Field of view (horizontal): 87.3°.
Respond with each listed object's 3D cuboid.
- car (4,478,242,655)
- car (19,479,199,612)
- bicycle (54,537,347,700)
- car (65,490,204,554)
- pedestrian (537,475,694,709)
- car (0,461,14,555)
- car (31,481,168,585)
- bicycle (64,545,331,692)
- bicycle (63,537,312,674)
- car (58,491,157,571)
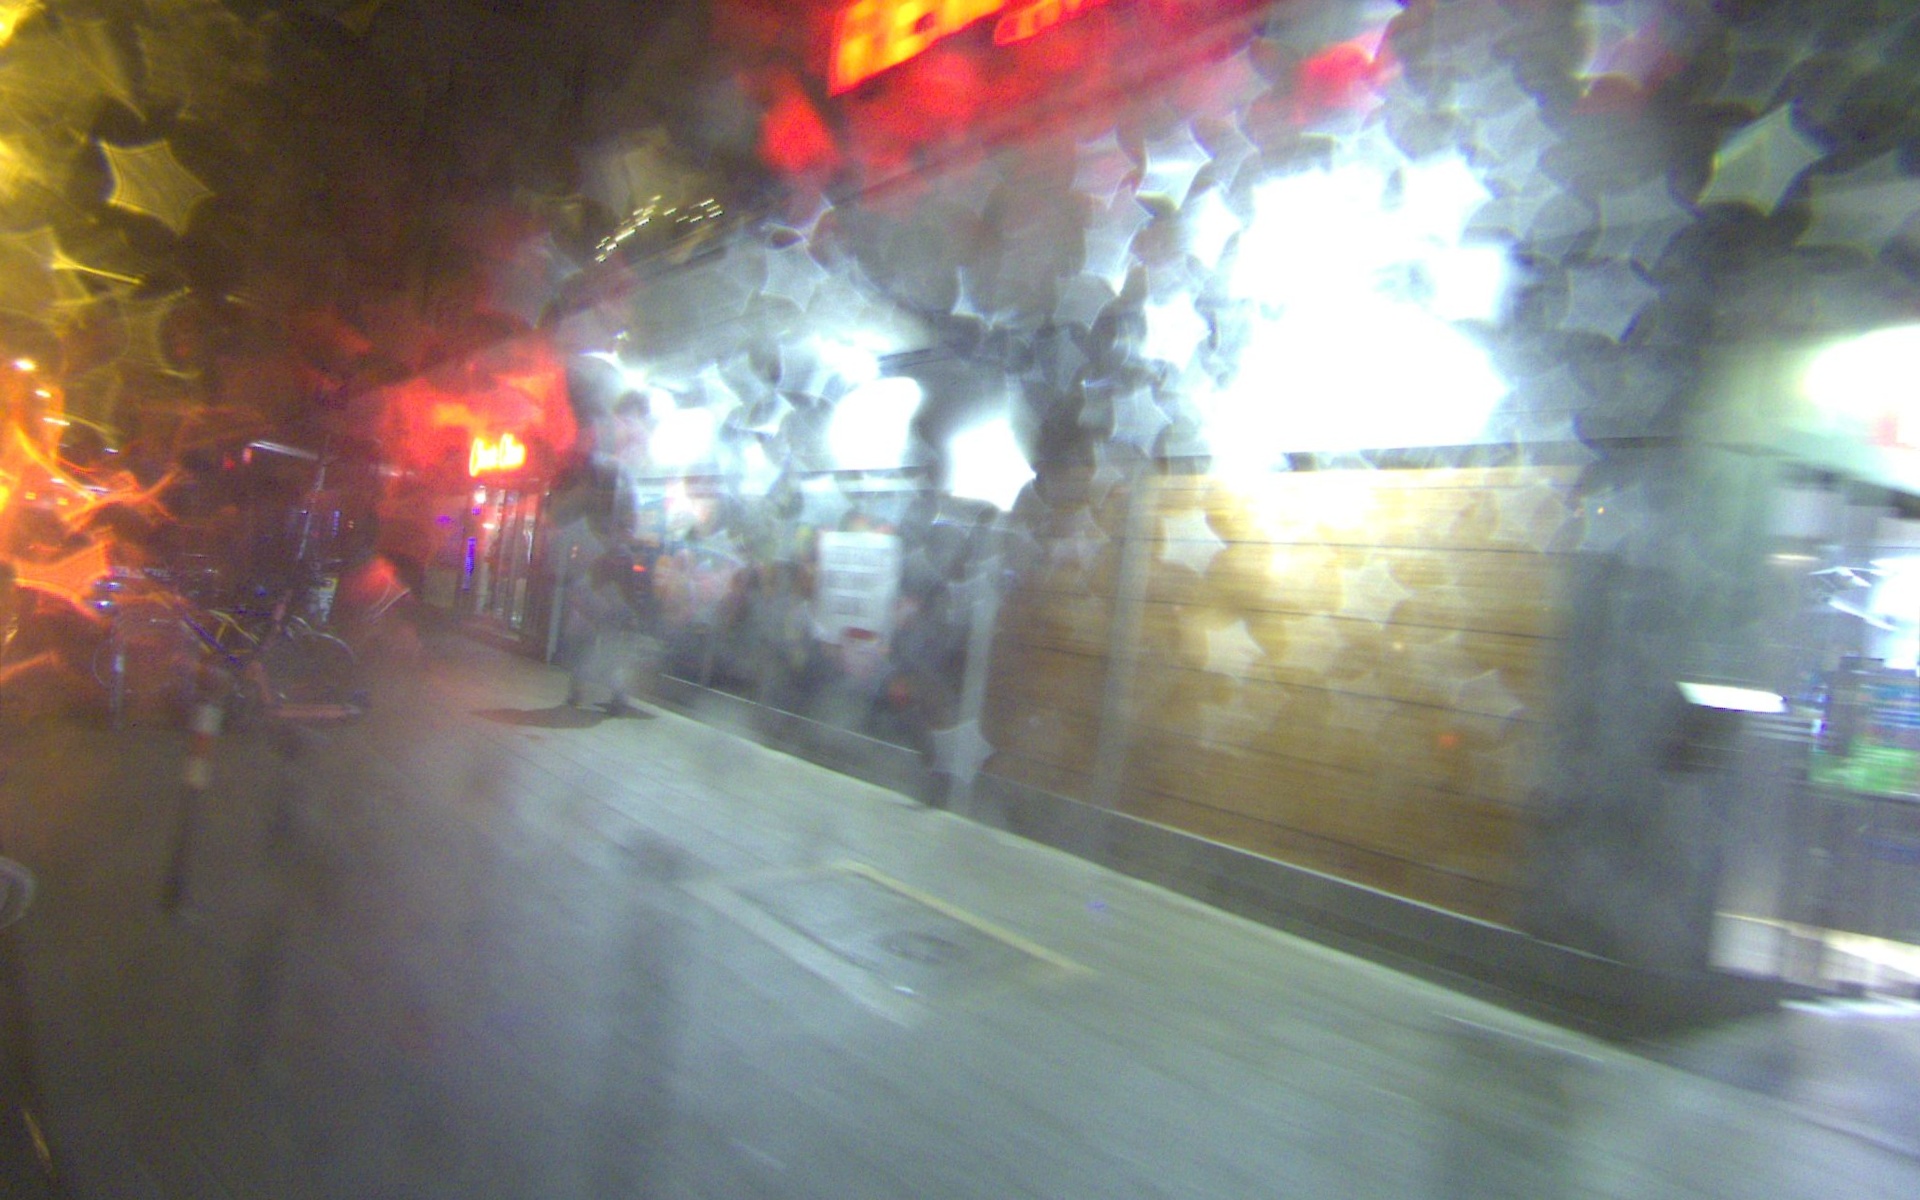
[{"bbox_3d":[-9.995,-0.433,11.976,1.748,1.583,4.105,9,-2,-42],"label":"car"},{"bbox_3d":[-13.154,-0.859,15.507,1.748,1.555,4.346,9,-2,-42],"label":"car"},{"bbox_3d":[-6.083,0.188,8.143,1.777,1.139,0.430,7,1,-44],"label":"bicycle"},{"bbox_3d":[-34.615,-3.239,42.268,1.967,2.038,3.992,6,-1,32],"label":"car"},{"bbox_3d":[-3.538,-0.067,10.331,1.049,2.236,0.959,5,1,-41],"label":"pedestrian"},{"bbox_3d":[-22.333,-2.258,22.043,2.118,1.945,4.764,9,-1,-44],"label":"car"},{"bbox_3d":[-17.064,-1.334,19.916,1.748,1.626,3.942,9,-2,-42],"label":"car"},{"bbox_3d":[-6.655,0.197,8.852,1.757,1.092,0.430,8,0,-44],"label":"bicycle"},{"bbox_3d":[-7.058,0.080,9.253,1.754,1.140,0.430,3,4,-43],"label":"bicycle"},{"bbox_3d":[-20.674,-1.672,24.424,1.587,1.560,3.381,9,-2,-41],"label":"car"}]
